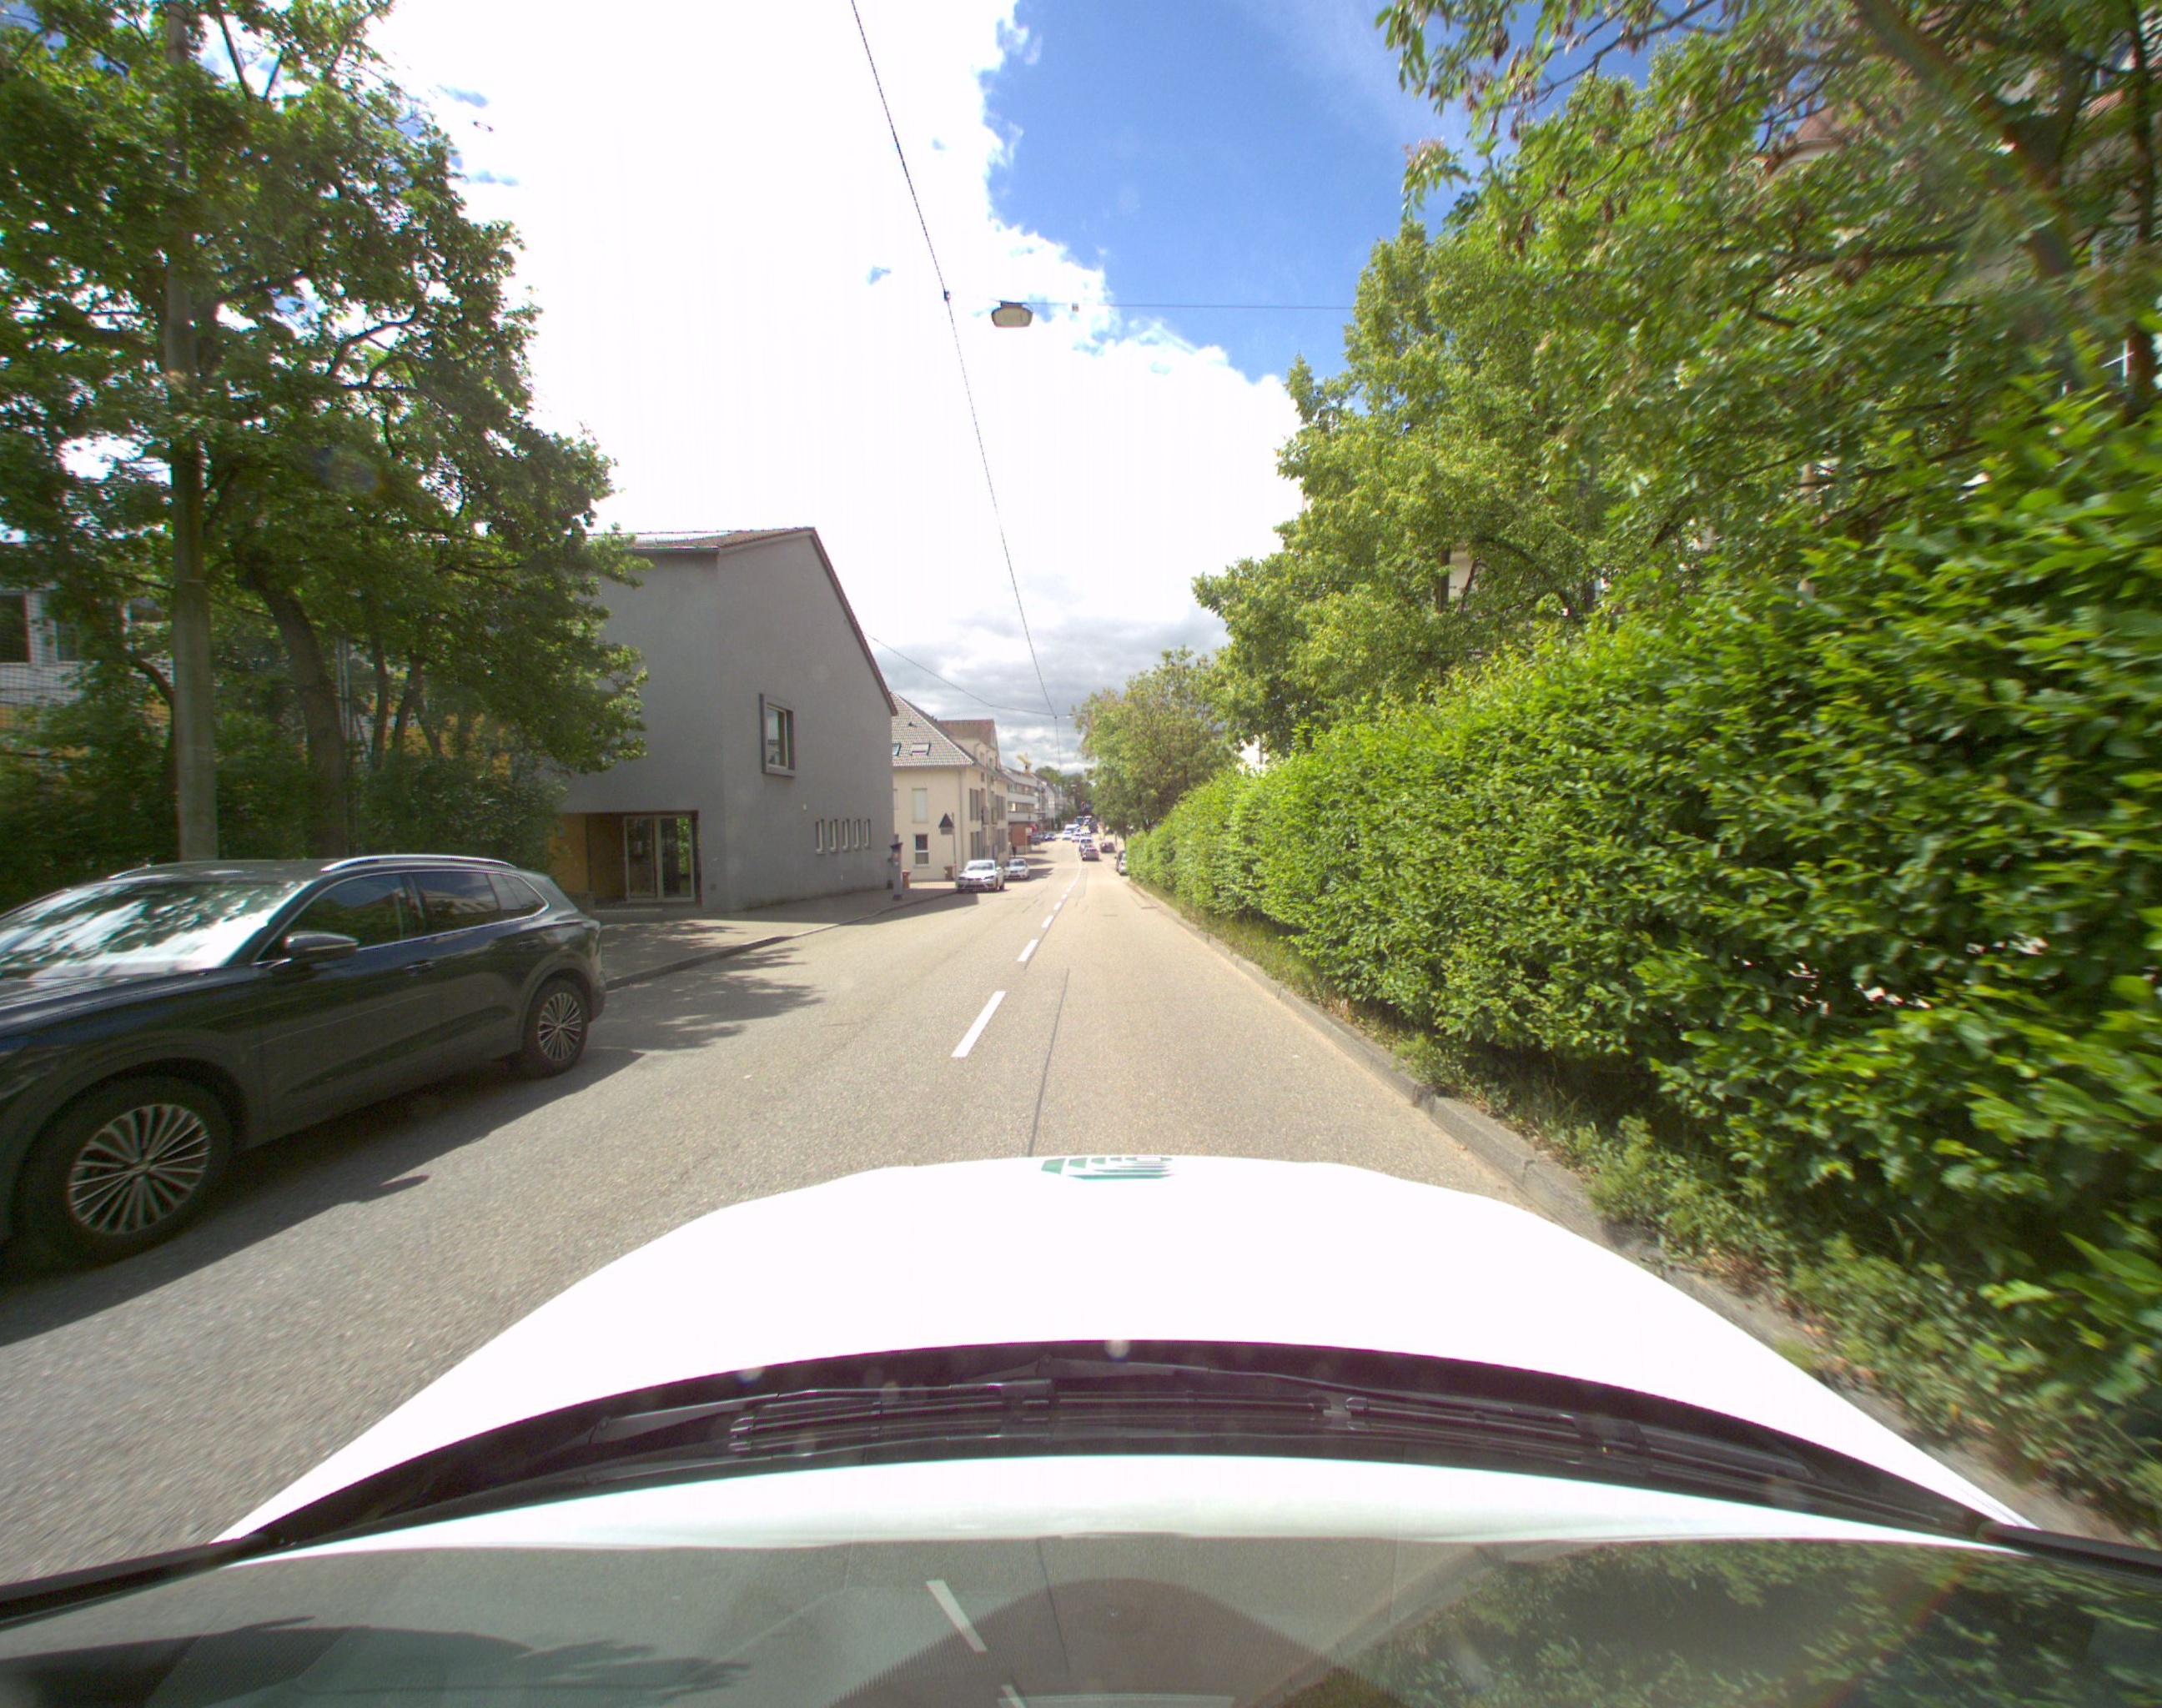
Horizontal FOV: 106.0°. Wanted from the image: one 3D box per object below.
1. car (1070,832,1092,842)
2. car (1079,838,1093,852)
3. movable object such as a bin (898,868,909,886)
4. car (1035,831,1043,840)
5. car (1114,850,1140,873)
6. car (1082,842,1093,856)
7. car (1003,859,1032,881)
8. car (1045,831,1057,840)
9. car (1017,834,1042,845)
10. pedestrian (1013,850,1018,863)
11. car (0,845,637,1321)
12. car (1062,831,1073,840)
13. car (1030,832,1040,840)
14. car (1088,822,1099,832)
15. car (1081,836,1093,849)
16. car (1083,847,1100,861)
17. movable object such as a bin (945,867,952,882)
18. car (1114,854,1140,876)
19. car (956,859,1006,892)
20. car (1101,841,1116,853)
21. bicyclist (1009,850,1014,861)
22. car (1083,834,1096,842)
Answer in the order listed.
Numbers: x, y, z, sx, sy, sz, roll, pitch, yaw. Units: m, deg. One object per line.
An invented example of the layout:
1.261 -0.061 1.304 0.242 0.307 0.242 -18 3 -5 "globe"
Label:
0.034 -2.932 140.101 1.764 1.557 4.026 -2 1 33 "car"
0.709 -1.296 110.912 1.830 1.862 3.851 -1 1 1 "car"
-9.315 1.187 42.794 0.453 0.929 0.399 -2 0 0 "movable object such as a bin"
-7.950 -3.552 154.967 1.379 1.541 3.399 -1 0 1 "car"
3.729 0.582 66.631 1.838 1.767 4.515 -1 0 1 "car"
0.822 -0.614 100.293 1.269 1.527 3.051 -2 4 0 "car"
-4.316 1.060 55.788 1.641 1.419 3.698 -1 -1 0 "car"
-5.491 -3.410 150.174 1.865 1.640 4.003 0 1 3 "car"
-8.180 -2.289 129.635 3.668 1.614 1.562 0 1 -27 "car"
-7.938 0.323 98.903 0.626 1.602 0.562 -1 1 -3 "pedestrian"
-4.667 0.788 4.617 1.790 1.610 4.643 -1 1 -1 "car"
-2.517 -3.441 153.911 1.865 1.640 4.003 0 1 3 "car"
-8.407 -3.241 150.066 1.546 1.376 3.399 -1 0 1 "car"
2.887 -6.350 190.937 2.428 2.318 5.327 0 1 0 "car"
0.910 -1.774 121.467 1.830 1.862 3.851 -1 1 1 "car"
1.168 -0.045 91.337 1.738 1.416 4.001 -2 1 1 "car"
-8.451 1.322 51.977 0.412 0.953 0.391 -2 0 -3 "movable object such as a bin"
3.399 0.813 60.850 1.780 1.509 4.365 -1 0 1 "car"
-4.576 0.963 37.793 1.691 1.390 3.868 -1 0 2 "car"
3.559 -0.906 106.996 1.747 1.370 4.000 -1 3 -1 "car"
-7.770 0.194 90.483 0.456 1.179 0.625 -2 1 0 "bicyclist"
1.614 -3.040 155.195 1.770 1.492 4.014 0 1 12 "car"
